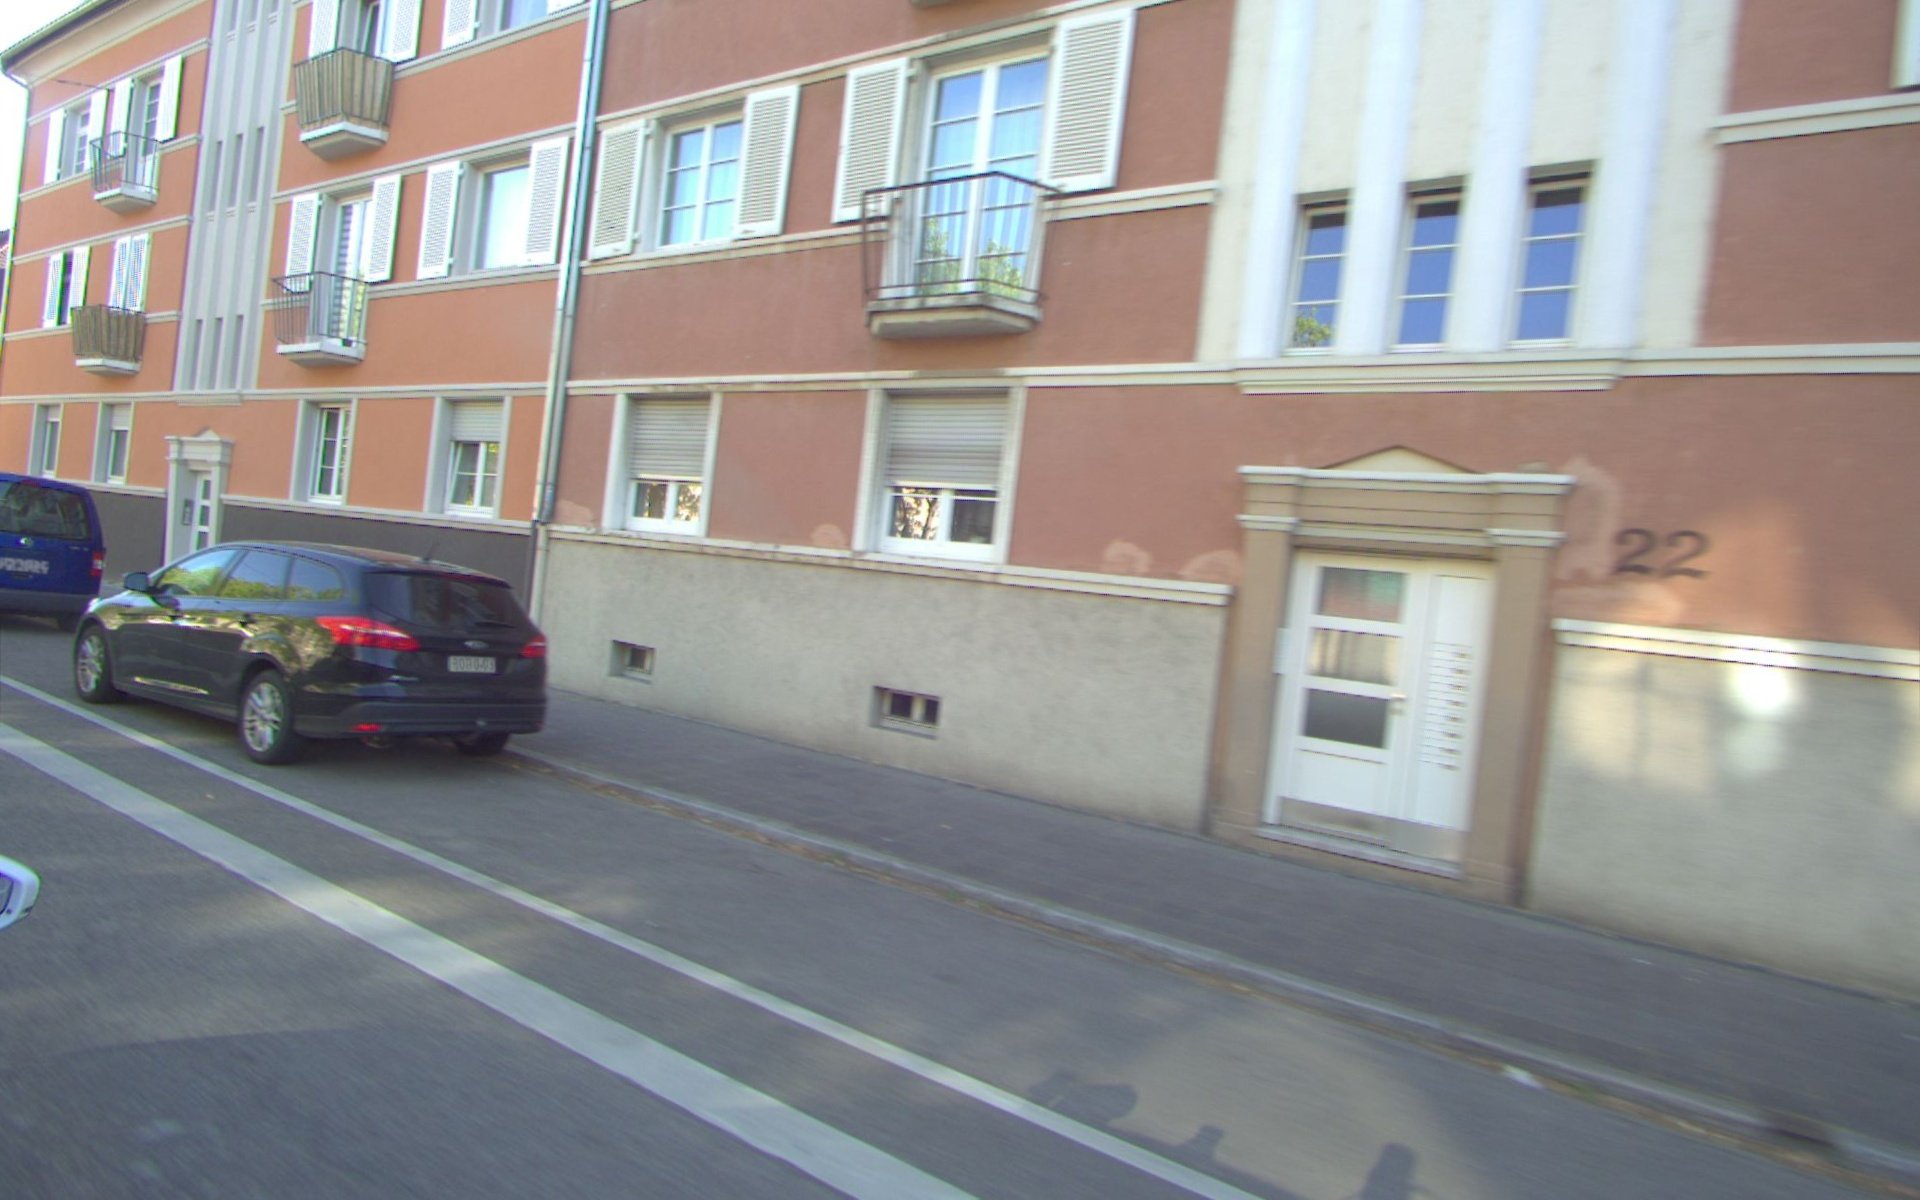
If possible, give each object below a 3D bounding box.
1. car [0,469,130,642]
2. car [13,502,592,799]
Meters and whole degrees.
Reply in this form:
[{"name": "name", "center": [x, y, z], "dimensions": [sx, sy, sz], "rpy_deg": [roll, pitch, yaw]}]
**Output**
[{"name": "car", "center": [-12.323, -0.716, 12.414], "dimensions": [4.199, 1.831, 1.707], "rpy_deg": [7, -2, 30]}, {"name": "car", "center": [-5.306, 0.283, 7.950], "dimensions": [4.681, 1.528, 1.758], "rpy_deg": [7, -2, 30]}]
